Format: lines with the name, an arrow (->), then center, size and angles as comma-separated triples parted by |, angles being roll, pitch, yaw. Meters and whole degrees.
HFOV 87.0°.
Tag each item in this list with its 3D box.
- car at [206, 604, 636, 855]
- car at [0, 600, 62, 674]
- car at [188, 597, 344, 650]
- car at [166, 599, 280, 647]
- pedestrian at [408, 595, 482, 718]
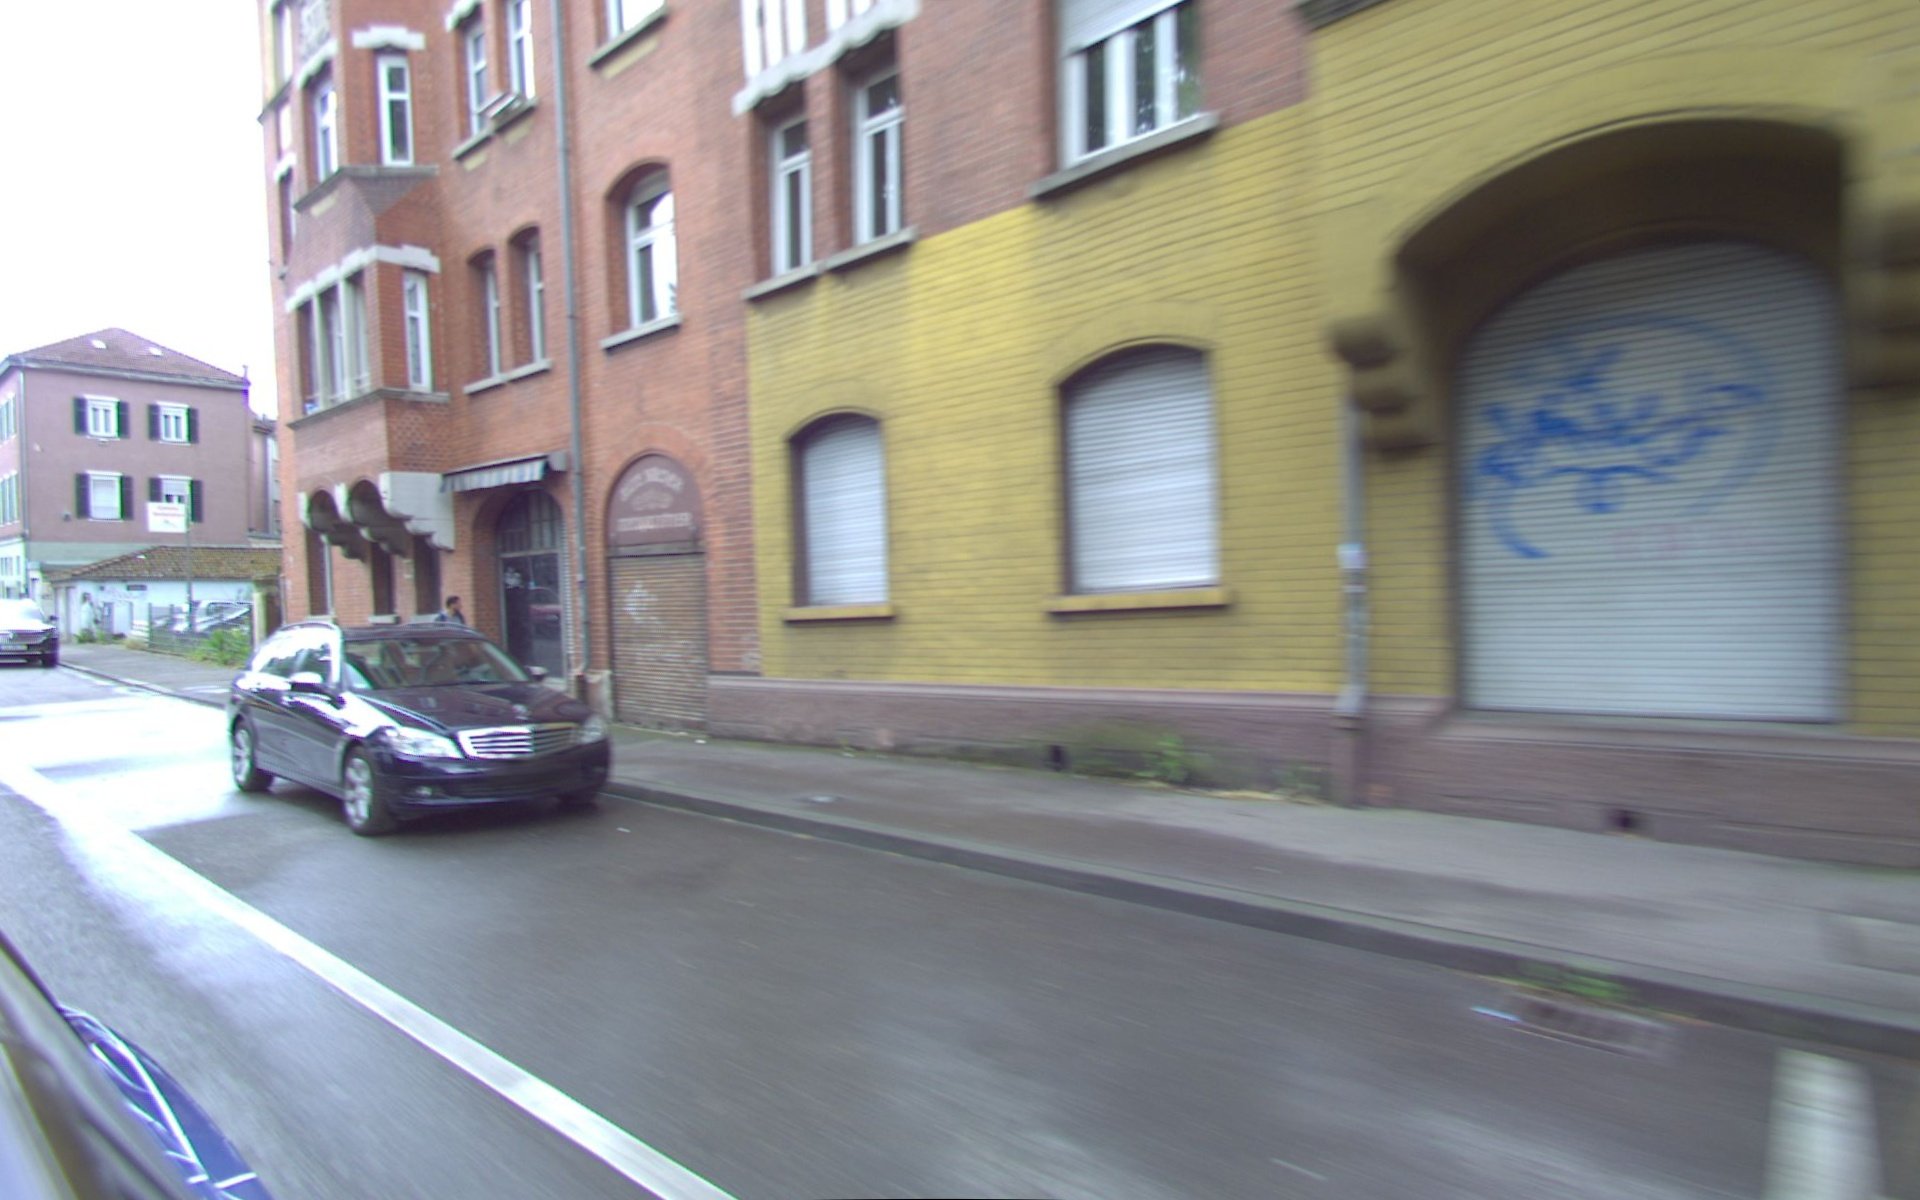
car -> -4.623, 0.880, 8.342 | 4.389, 1.497, 1.706 | -3, -1, 42
car -> -24.469, 0.912, 25.655 | 4.771, 1.747, 1.934 | -1, 0, 41
car -> -21.048, 0.699, 30.792 | 1.852, 1.516, 3.558 | 0, -1, 41
car -> -25.267, 0.766, 34.745 | 1.852, 1.577, 2.817 | 0, -1, 41
pedestrian -> -7.157, 0.764, 14.067 | 0.632, 1.621, 0.653 | -2, 1, 41
